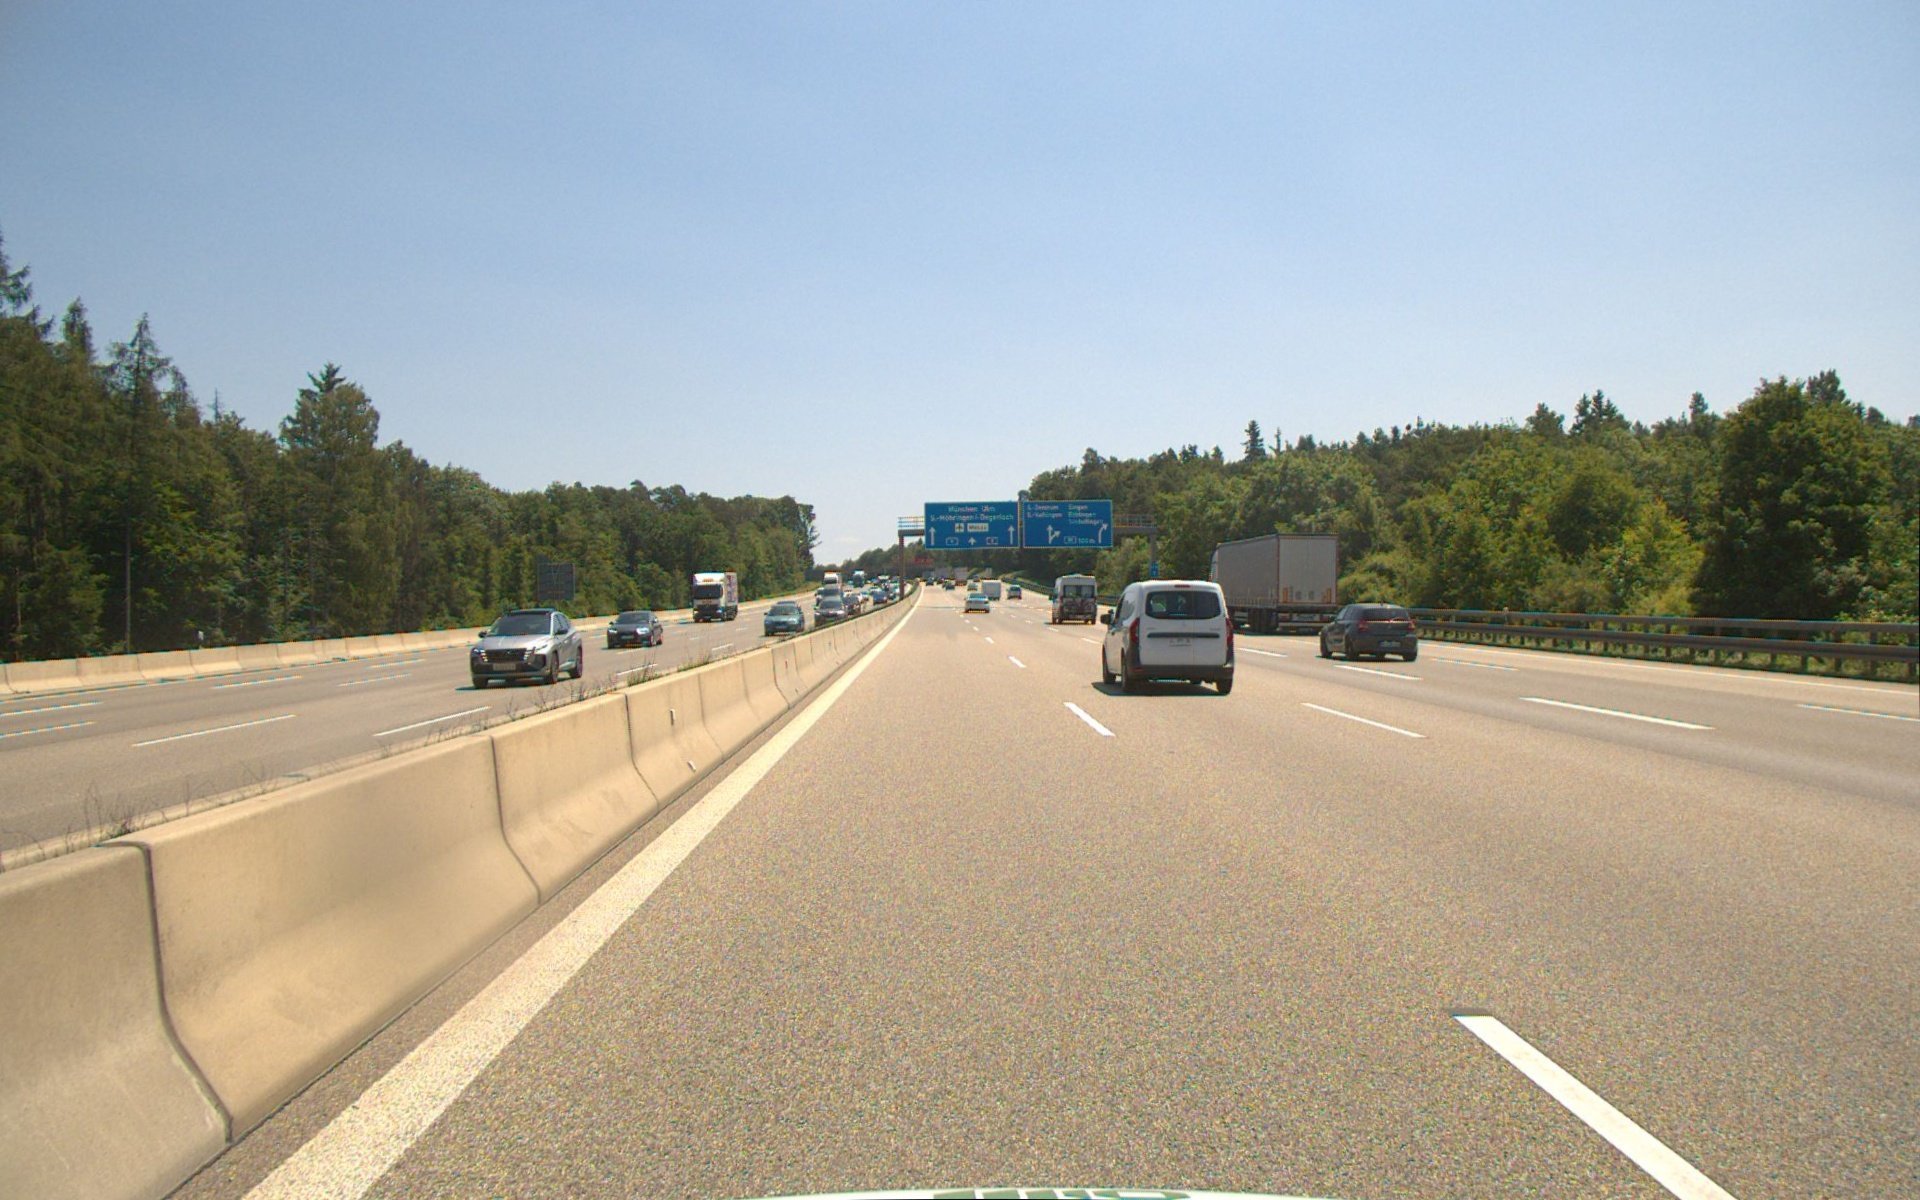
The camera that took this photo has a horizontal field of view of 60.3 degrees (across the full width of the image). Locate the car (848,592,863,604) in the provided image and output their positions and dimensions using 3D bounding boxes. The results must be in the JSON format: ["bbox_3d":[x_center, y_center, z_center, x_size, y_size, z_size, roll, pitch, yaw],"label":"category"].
[{"bbox_3d":[-13.380,-0.226,211.502,1.644,1.469,4.525,-3,0,-1],"label":"car"}]

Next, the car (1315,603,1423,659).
[{"bbox_3d":[10.412,0.763,42.342,1.636,1.296,4.289,1,0,-1],"label":"car"}]

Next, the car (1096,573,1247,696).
[{"bbox_3d":[3.507,0.547,28.240,1.822,1.857,4.610,-2,0,-2],"label":"car"}]

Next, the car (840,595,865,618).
[{"bbox_3d":[-8.132,0.485,125.237,1.581,1.691,3.849,-1,0,-1],"label":"car"}]

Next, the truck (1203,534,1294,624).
[{"bbox_3d":[13.839,-1.017,79.800,3.188,4.178,5.986,0,1,-1],"label":"truck"}]

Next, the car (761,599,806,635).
[{"bbox_3d":[-8.236,0.767,77.507,1.682,1.538,4.350,-2,0,-1],"label":"car"}]

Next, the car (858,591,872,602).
[{"bbox_3d":[-13.284,-0.507,231.320,1.644,1.469,3.993,-3,0,-1],"label":"car"}]

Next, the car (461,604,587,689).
[{"bbox_3d":[-10.066,1.028,38.520,1.932,1.754,4.505,-3,0,-4],"label":"car"}]

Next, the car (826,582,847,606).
[{"bbox_3d":[-14.097,-0.757,189.706,1.891,2.652,7.229,-2,1,-1],"label":"car"}]

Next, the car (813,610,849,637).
[{"bbox_3d":[-7.106,1.262,91.535,1.717,1.401,4.490,0,0,-1],"label":"car"}]

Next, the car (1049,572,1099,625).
[{"bbox_3d":[6.035,-0.083,88.154,2.100,2.698,5.708,-2,0,-1],"label":"car"}]

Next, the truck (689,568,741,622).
[{"bbox_3d":[-19.393,-0.373,131.356,2.664,4.008,10.233,-2,0,-1],"label":"truck"}]

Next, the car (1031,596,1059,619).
[{"bbox_3d":[6.377,0.565,124.856,1.781,1.668,3.999,-2,0,-1],"label":"car"}]

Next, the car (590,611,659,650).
[{"bbox_3d":[-13.255,1.172,65.607,1.883,1.373,5.042,-1,0,-2],"label":"car"}]

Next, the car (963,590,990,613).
[{"bbox_3d":[1.202,0.135,124.520,1.806,1.657,4.552,-2,0,-1],"label":"car"}]

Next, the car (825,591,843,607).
[{"bbox_3d":[-12.936,-0.113,169.930,1.670,1.592,3.759,-1,0,-1],"label":"car"}]

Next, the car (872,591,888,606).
[{"bbox_3d":[-9.265,-0.185,191.738,1.670,1.691,3.759,-1,0,-1],"label":"car"}]

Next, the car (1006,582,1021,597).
[{"bbox_3d":[7.109,-1.390,218.951,1.783,1.892,3.999,-1,1,-1],"label":"car"}]

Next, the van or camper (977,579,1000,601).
[{"bbox_3d":[3.569,-1.235,207.791,2.591,2.583,6.500,-2,0,-1],"label":"van or camper"}]

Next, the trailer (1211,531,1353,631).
[{"bbox_3d":[13.983,-0.859,73.396,3.221,3.999,13.887,0,1,-2],"label":"trailer"}]
